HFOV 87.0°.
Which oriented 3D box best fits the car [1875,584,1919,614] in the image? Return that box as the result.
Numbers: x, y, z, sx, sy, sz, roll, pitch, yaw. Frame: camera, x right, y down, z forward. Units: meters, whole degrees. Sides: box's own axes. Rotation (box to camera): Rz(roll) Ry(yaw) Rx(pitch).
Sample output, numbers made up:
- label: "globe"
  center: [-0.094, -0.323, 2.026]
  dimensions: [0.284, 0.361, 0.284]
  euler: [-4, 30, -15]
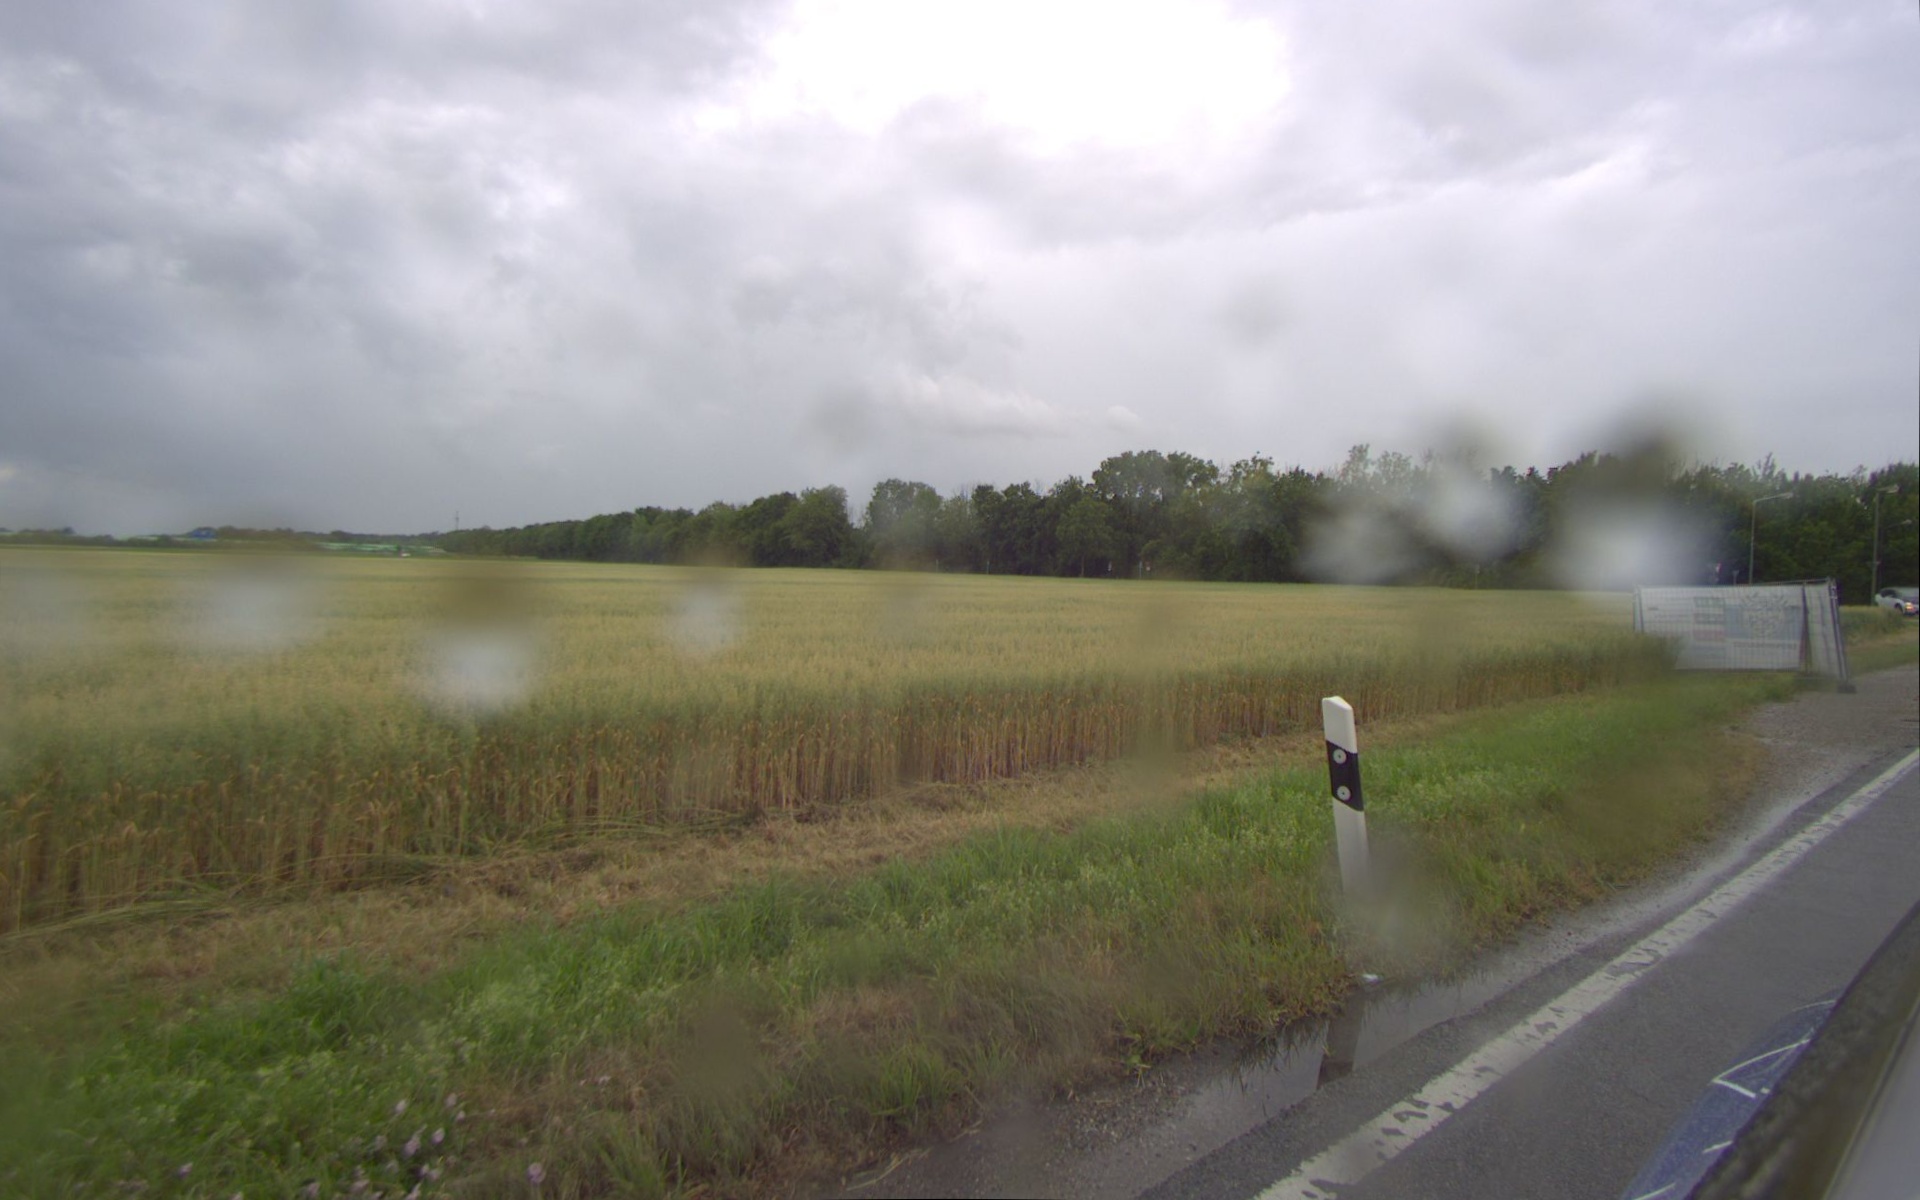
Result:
- label: "car"
  center: [51.873, -0.054, 54.807]
  dimensions: [1.870, 1.550, 4.472]
  euler: [1, 1, 20]
